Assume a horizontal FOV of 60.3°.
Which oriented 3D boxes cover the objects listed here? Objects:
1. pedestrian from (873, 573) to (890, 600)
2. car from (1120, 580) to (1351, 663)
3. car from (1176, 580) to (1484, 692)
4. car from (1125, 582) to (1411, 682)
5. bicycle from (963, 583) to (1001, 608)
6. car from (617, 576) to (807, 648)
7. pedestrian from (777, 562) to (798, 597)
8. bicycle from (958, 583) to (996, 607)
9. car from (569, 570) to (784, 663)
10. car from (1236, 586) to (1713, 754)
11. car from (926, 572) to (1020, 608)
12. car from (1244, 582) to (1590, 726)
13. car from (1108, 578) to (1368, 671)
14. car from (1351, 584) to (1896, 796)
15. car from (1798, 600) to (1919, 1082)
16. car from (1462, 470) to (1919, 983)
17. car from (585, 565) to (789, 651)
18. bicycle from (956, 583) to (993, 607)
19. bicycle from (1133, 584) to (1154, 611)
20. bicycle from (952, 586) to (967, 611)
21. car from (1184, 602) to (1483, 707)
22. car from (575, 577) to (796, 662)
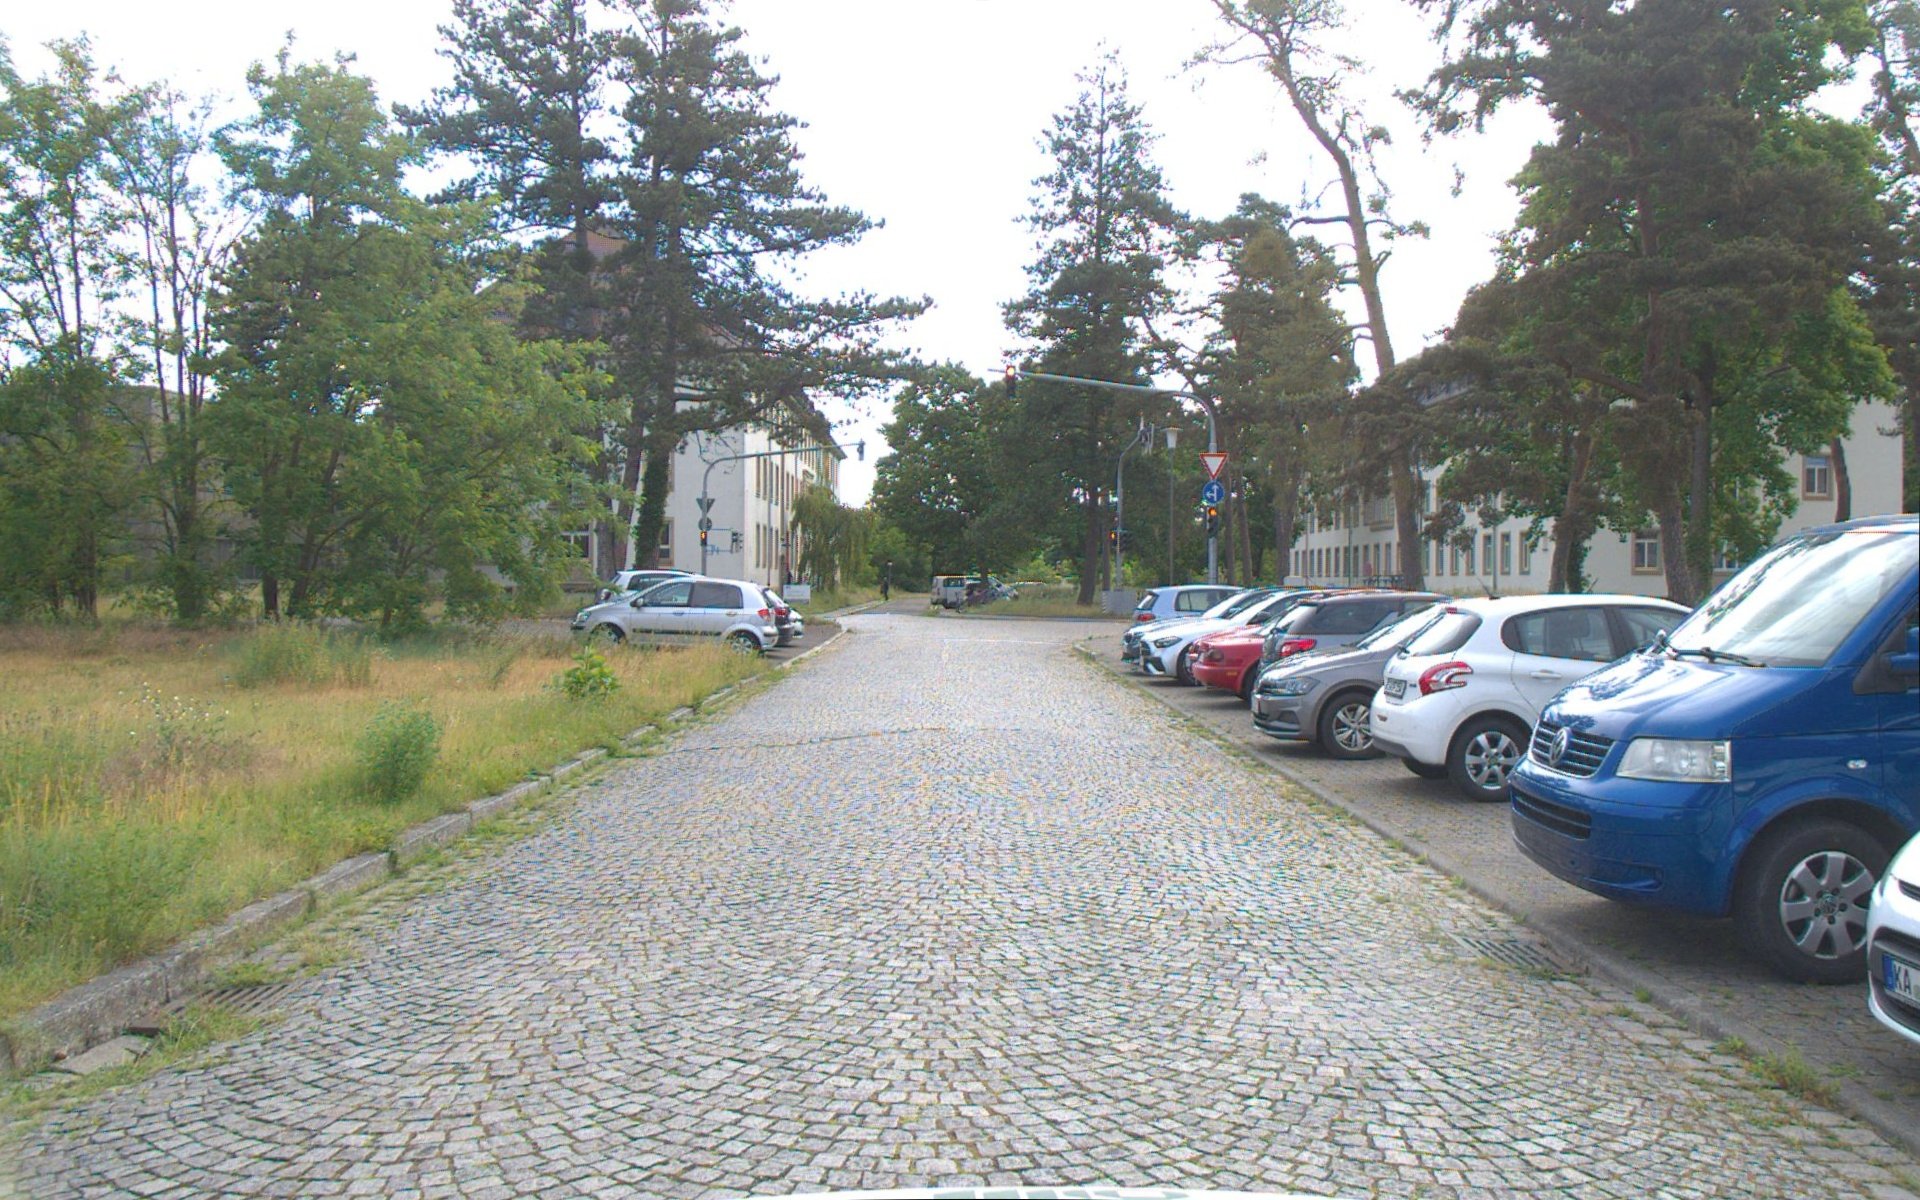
[{"bbox_3d":[-6.056,-1.057,127.872,1.215,1.993,1.120,2,0,-6],"label":"pedestrian"},{"bbox_3d":[5.193,0.382,31.425,4.055,1.489,1.631,-1,1,-6],"label":"car"},{"bbox_3d":[5.236,0.484,23.743,4.022,1.502,1.684,-1,1,-2],"label":"car"},{"bbox_3d":[4.816,0.475,26.101,4.106,1.462,1.752,-1,1,-8],"label":"car"},{"bbox_3d":[1.126,-0.237,84.352,1.845,1.191,0.664,2,0,-6],"label":"bicycle"},{"bbox_3d":[-5.672,0.252,38.223,4.215,1.581,1.810,-1,1,-7],"label":"car"},{"bbox_3d":[-9.988,-1.206,95.863,1.052,1.993,1.121,2,0,0],"label":"pedestrian"},{"bbox_3d":[0.884,-0.258,86.033,1.845,1.191,0.664,2,0,-6],"label":"bicycle"},{"bbox_3d":[-5.148,0.294,30.373,3.647,1.506,1.672,2,1,-3],"label":"car"},{"bbox_3d":[4.824,0.632,15.904,4.046,1.472,1.766,-1,1,0],"label":"car"},{"bbox_3d":[0.754,-0.599,98.290,5.283,2.138,2.172,0,1,-13],"label":"car"},{"bbox_3d":[5.100,0.573,18.774,3.434,1.513,1.743,-1,1,-1],"label":"car"},{"bbox_3d":[4.814,0.389,28.867,4.153,1.505,1.705,-1,1,-11],"label":"car"},{"bbox_3d":[5.078,0.648,13.002,3.579,1.504,1.765,-1,1,-1],"label":"car"},{"bbox_3d":[5.036,0.749,5.162,4.016,1.504,1.720,-1,1,-4],"label":"car"},{"bbox_3d":[4.989,0.471,7.691,4.699,2.039,1.965,-1,1,-3],"label":"car"},{"bbox_3d":[-5.839,0.157,35.766,4.215,1.762,1.651,-1,1,-6],"label":"car"},{"bbox_3d":[0.764,-0.270,86.985,1.845,1.191,0.664,2,0,-6],"label":"bicycle"},{"bbox_3d":[7.565,-0.103,68.299,0.649,1.069,1.888,2,1,0],"label":"bicycle"},{"bbox_3d":[-0.016,-0.079,78.845,0.649,1.191,1.888,2,0,0],"label":"bicycle"},{"bbox_3d":[4.762,0.678,21.397,3.513,1.244,1.629,-1,1,1],"label":"car"},{"bbox_3d":[-5.392,0.356,32.967,4.215,1.581,1.810,-1,1,-7],"label":"car"}]
